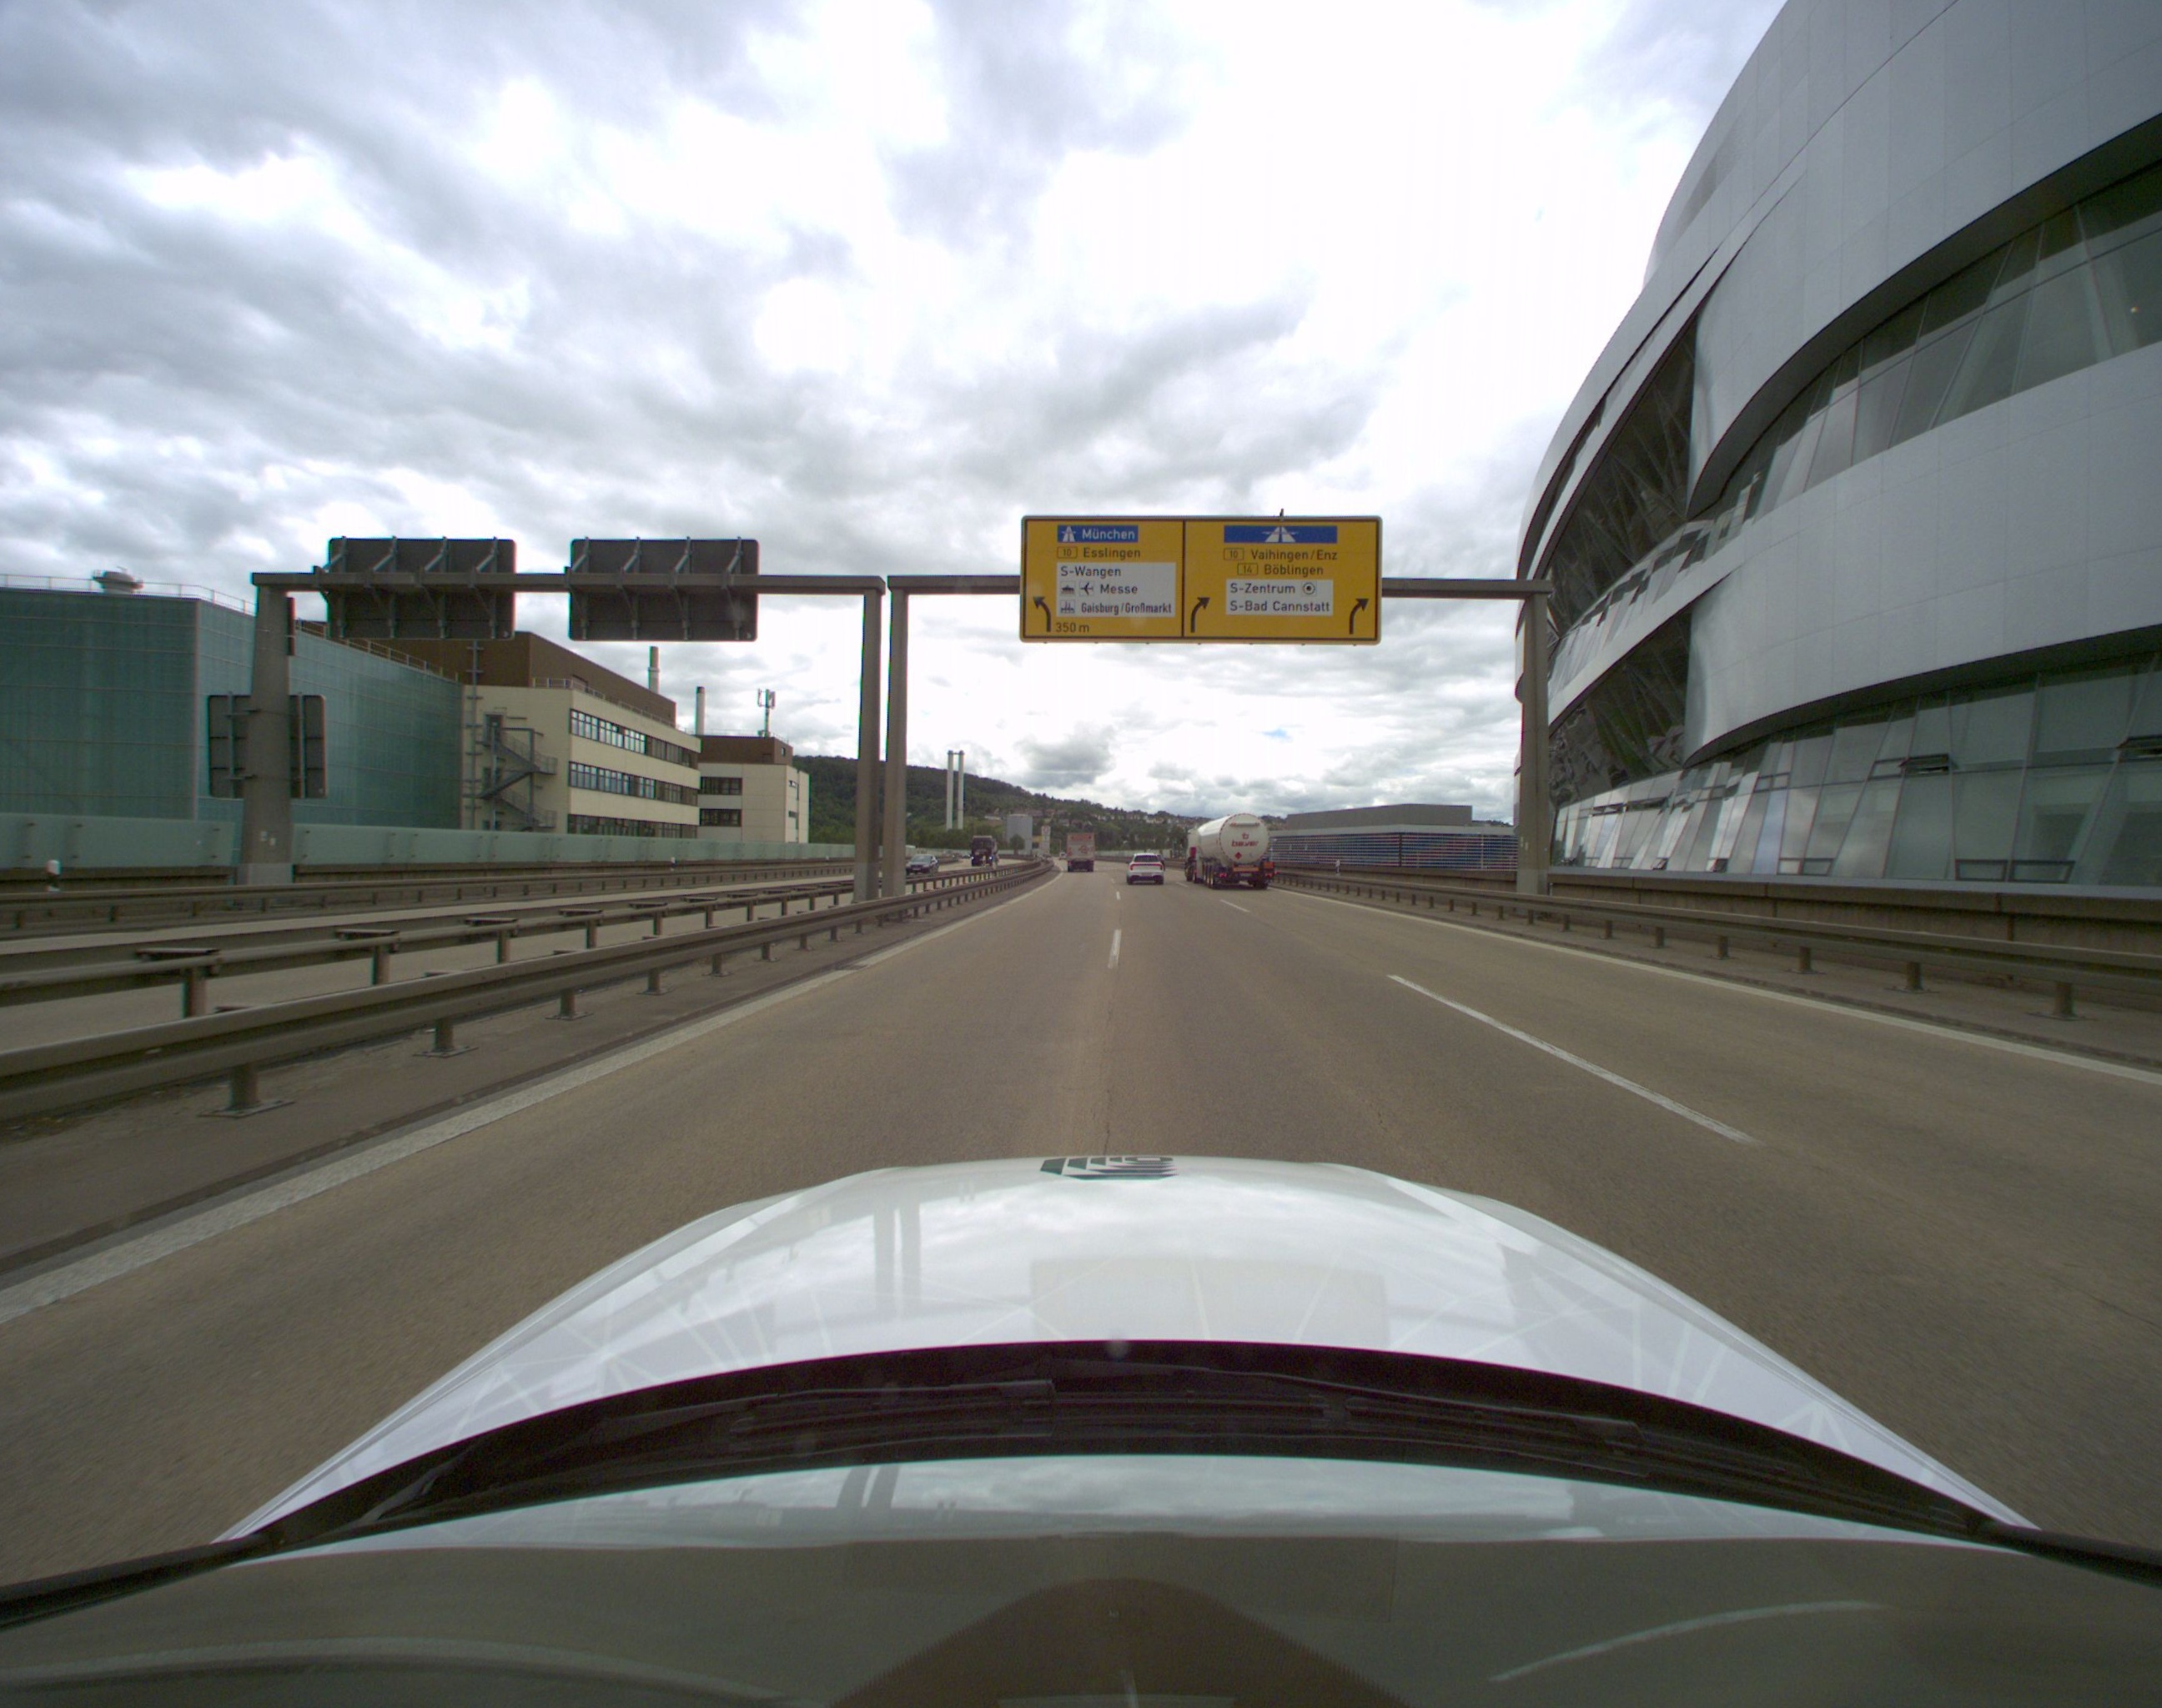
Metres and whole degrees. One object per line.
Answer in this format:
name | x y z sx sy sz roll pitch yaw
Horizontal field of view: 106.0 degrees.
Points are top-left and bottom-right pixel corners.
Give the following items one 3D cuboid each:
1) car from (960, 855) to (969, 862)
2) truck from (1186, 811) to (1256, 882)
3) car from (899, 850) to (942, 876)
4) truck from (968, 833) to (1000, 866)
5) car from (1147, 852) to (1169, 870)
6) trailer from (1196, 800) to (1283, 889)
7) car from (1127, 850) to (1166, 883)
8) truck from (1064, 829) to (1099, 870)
car | -28.791 1.163 201.068 1.990 1.675 4.400 0 -1 -5
truck | 7.637 -0.362 45.315 3.003 3.657 6.275 0 -1 2
car | -11.069 0.633 56.379 1.986 1.675 4.409 0 -1 1
truck | -11.922 -0.424 100.726 2.803 3.809 12.011 0 -1 -2
car | 7.404 0.666 78.912 1.985 1.675 4.412 0 -1 4
trailer | 7.369 -0.375 39.089 3.044 3.790 8.311 0 -1 3
car | 3.473 0.671 44.142 1.985 1.675 4.411 0 -1 3
truck | 0.158 -0.389 77.252 3.046 3.691 8.306 0 -1 1
